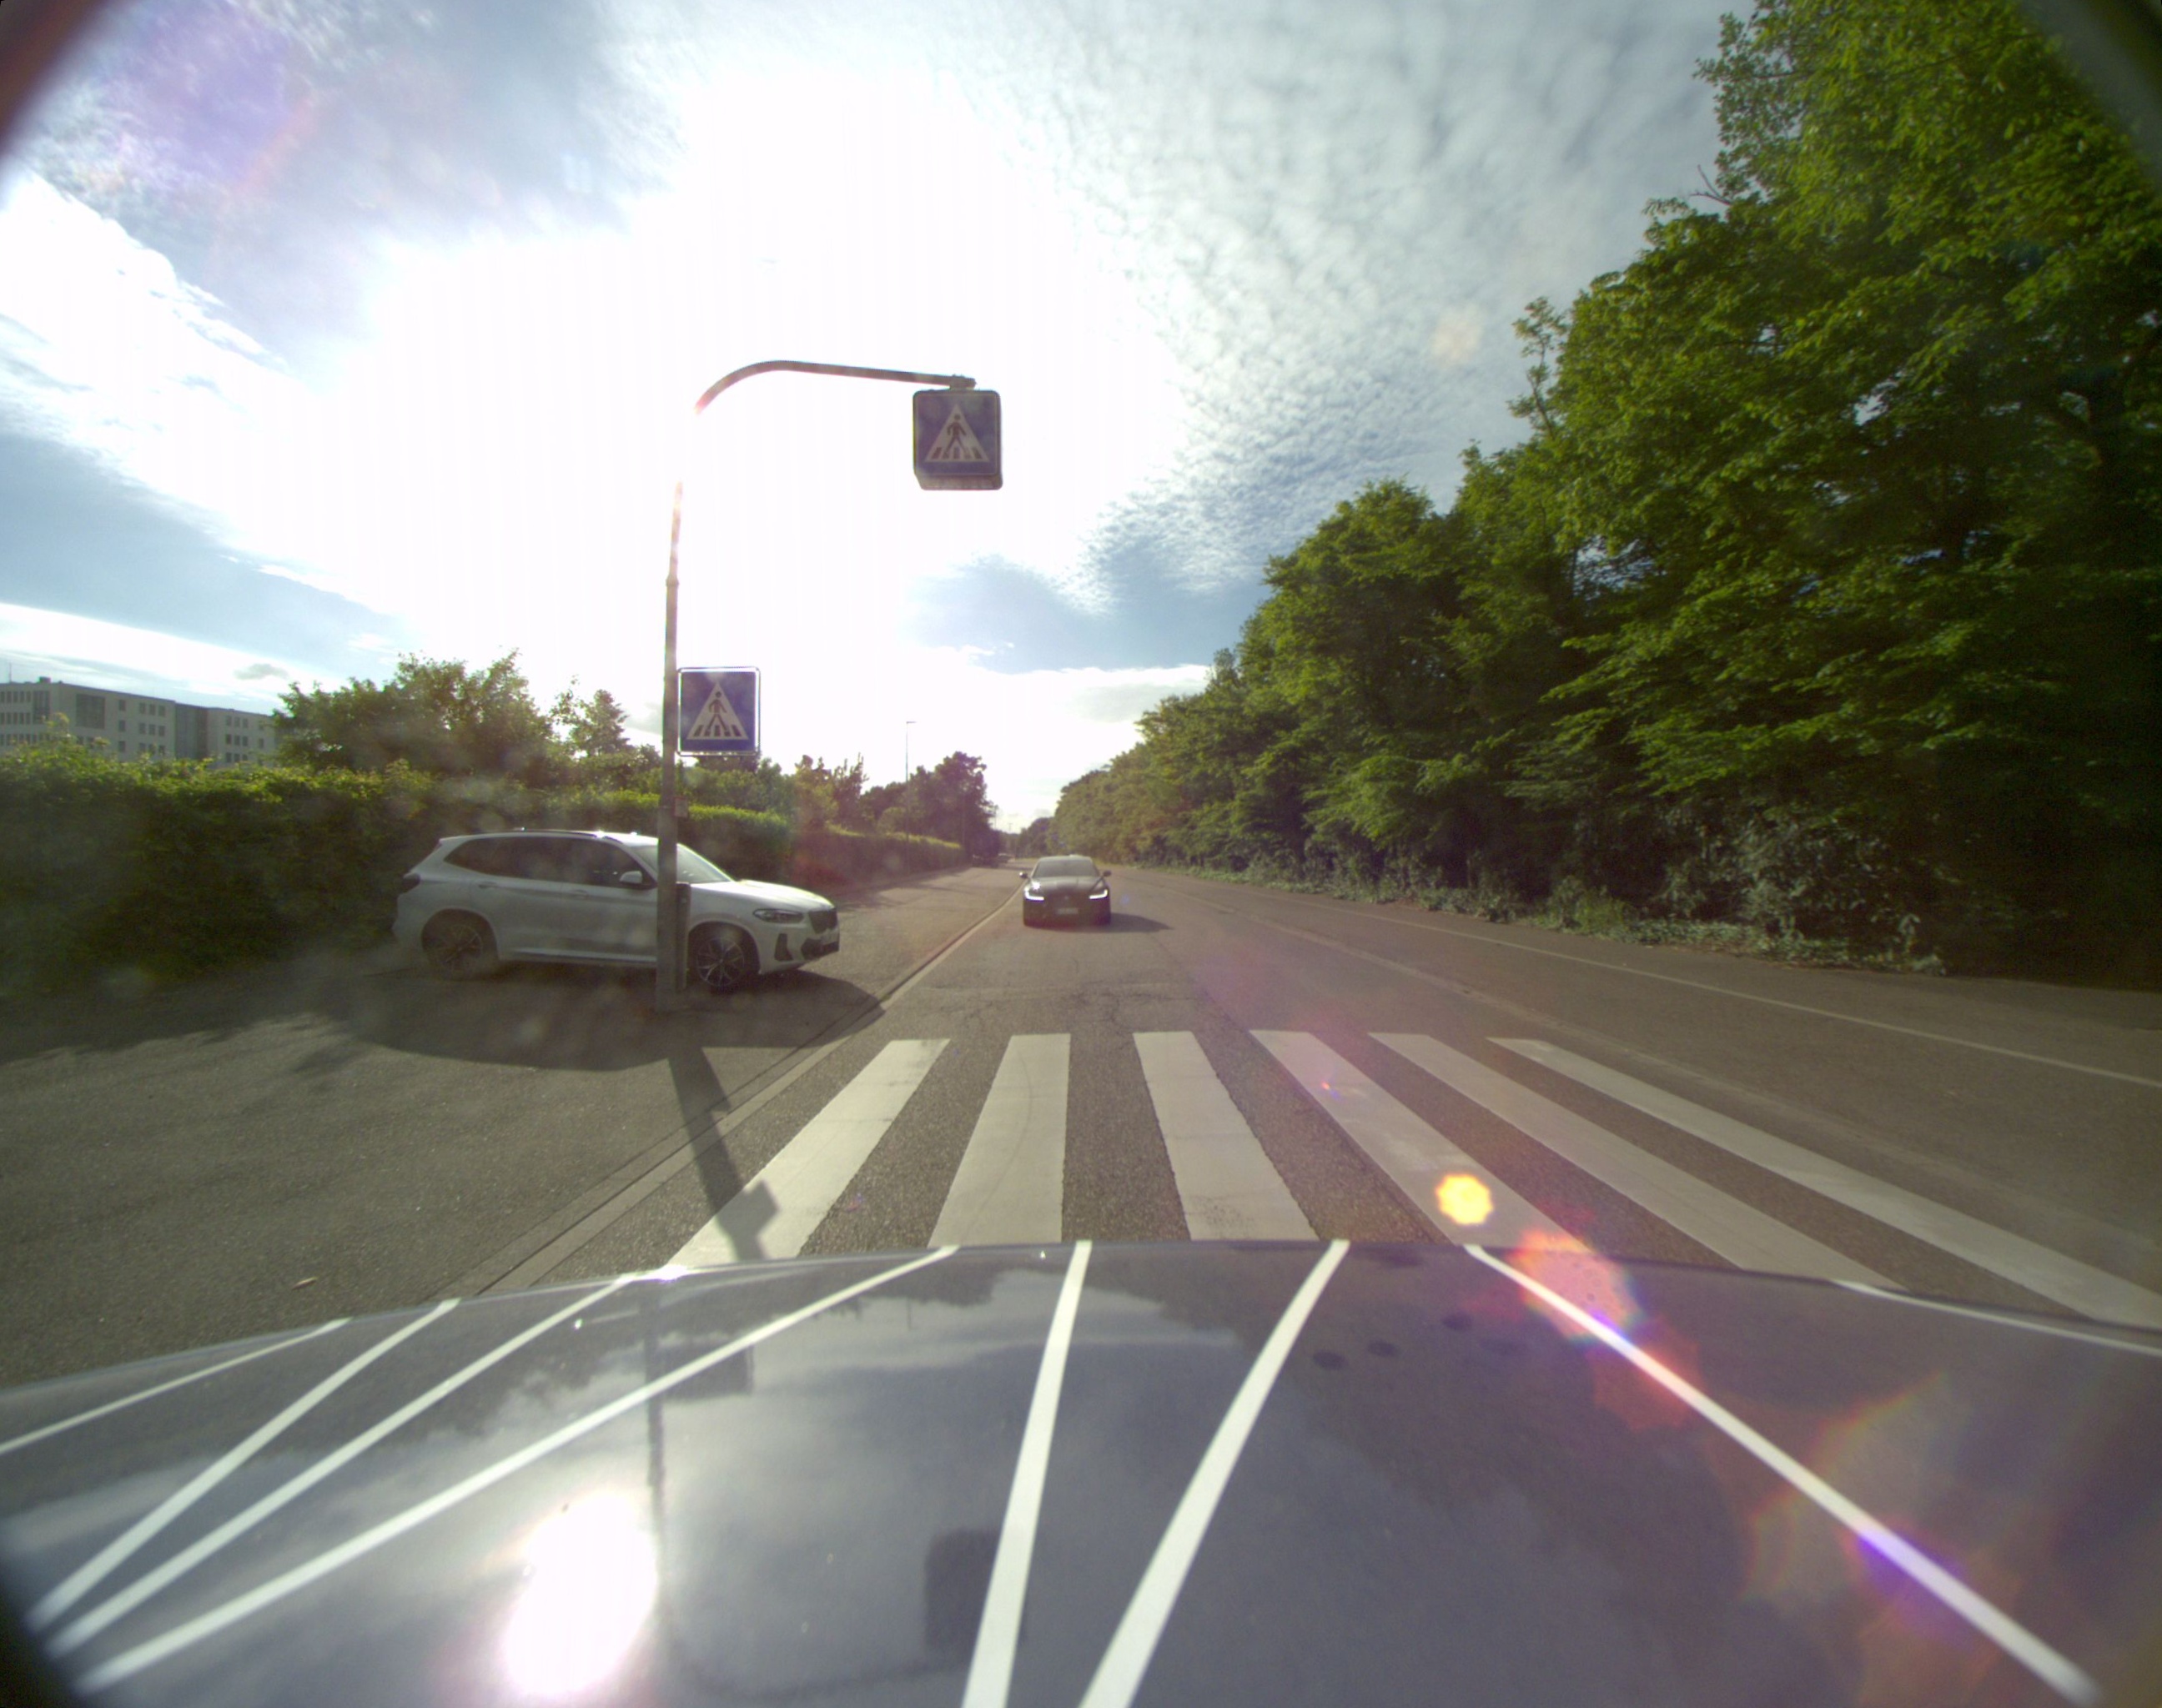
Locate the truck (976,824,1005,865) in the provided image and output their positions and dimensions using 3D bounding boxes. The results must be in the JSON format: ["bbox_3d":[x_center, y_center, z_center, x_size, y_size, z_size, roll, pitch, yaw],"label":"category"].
[{"bbox_3d":[-9.408,-0.961,78.661,2.604,3.935,6.279,4,0,-7],"label":"truck"}]

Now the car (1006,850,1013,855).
[{"bbox_3d":[-20.117,-0.468,213.478,1.752,1.380,3.859,2,0,-6],"label":"car"}]

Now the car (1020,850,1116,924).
[{"bbox_3d":[-0.264,0.657,17.749,1.936,1.501,4.679,0,1,0],"label":"car"}]

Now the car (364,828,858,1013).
[{"bbox_3d":[-5.193,0.684,8.816,4.599,1.690,1.763,3,1,1],"label":"car"}]

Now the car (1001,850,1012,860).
[{"bbox_3d":[-12.216,0.226,124.842,1.752,1.561,3.859,2,0,-6],"label":"car"}]

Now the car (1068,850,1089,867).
[{"bbox_3d":[-0.273,0.403,75.317,1.807,1.576,4.100,1,1,-3],"label":"car"}]
